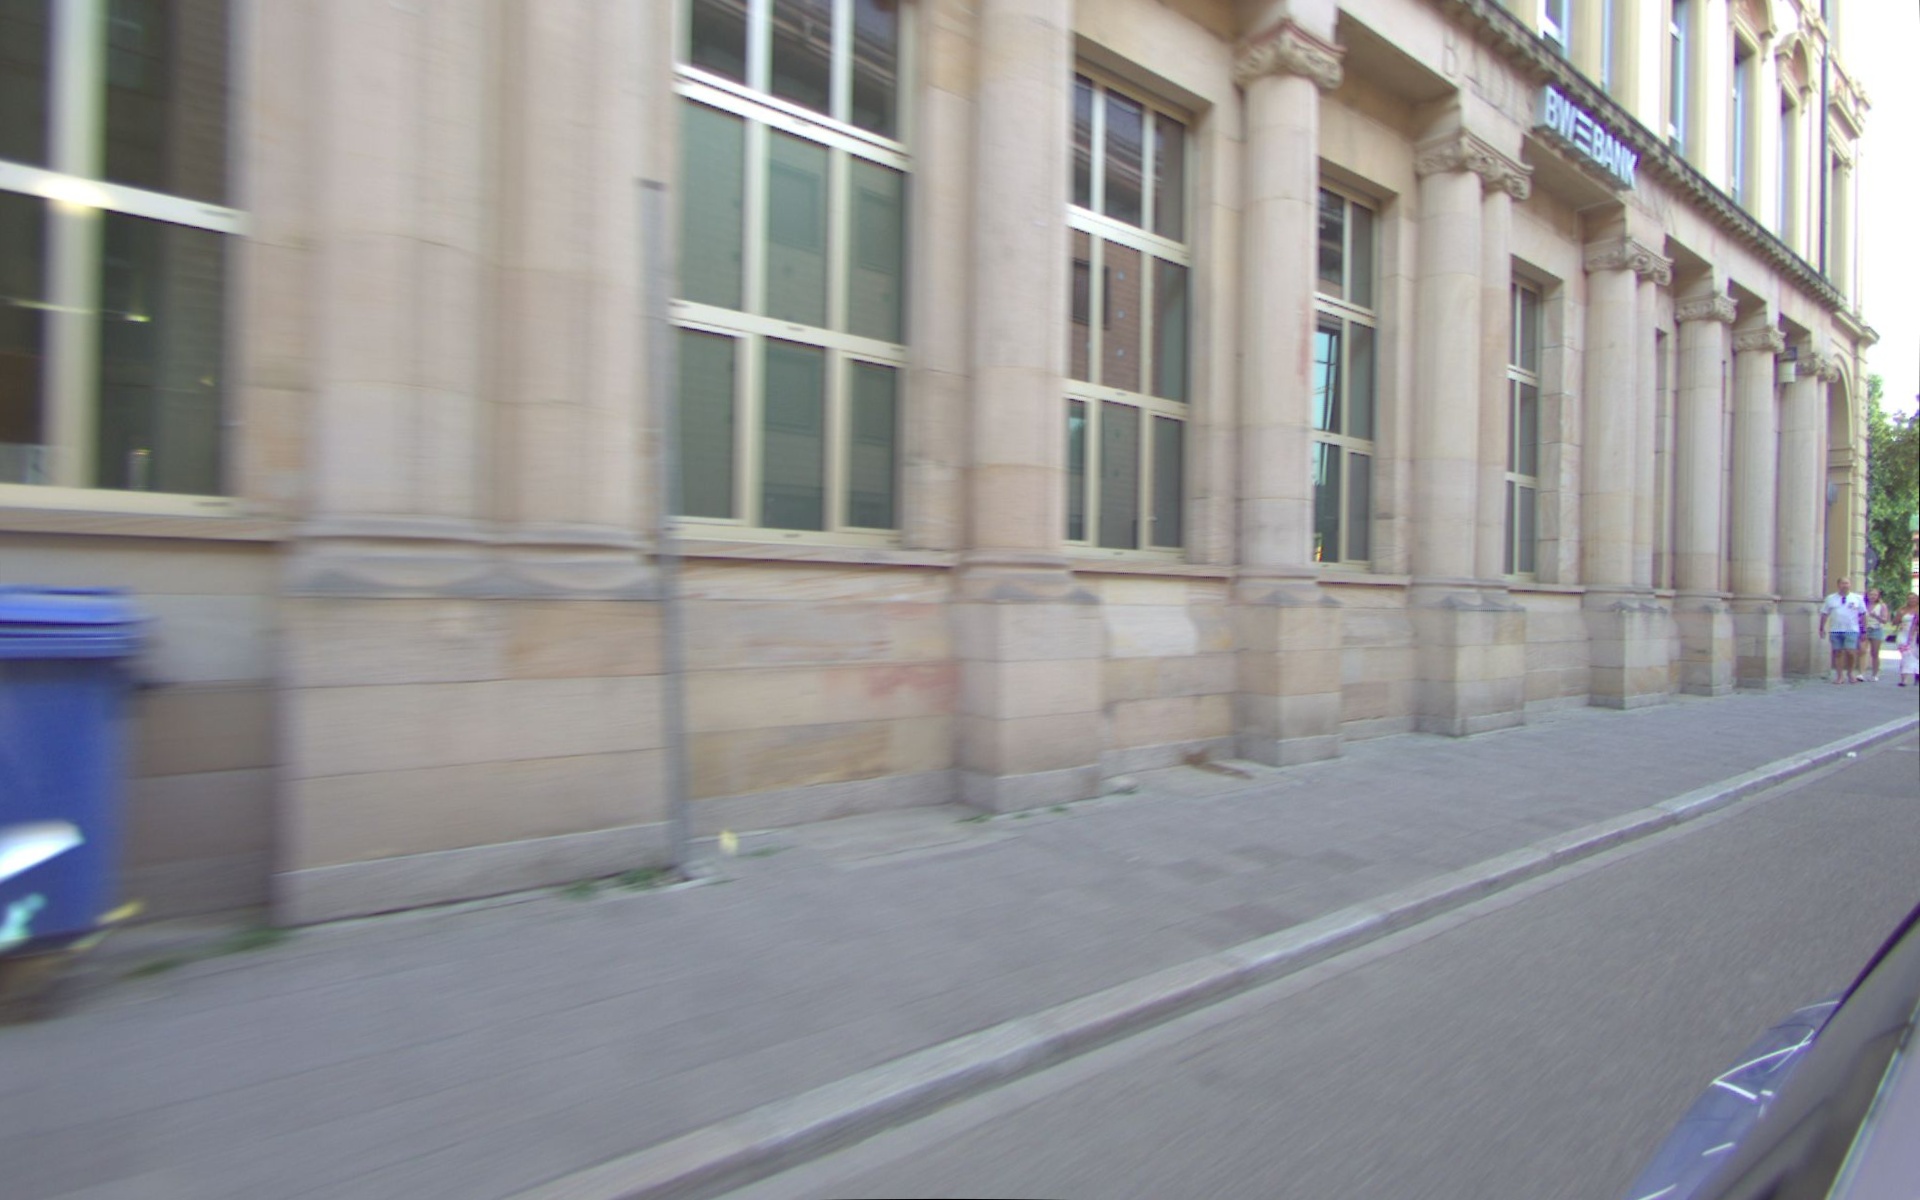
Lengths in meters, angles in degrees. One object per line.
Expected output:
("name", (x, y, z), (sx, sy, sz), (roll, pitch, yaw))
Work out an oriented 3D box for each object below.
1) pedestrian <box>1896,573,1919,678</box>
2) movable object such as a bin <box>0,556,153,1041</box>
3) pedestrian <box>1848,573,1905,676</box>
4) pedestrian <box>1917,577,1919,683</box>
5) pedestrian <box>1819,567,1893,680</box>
("pedestrian", (17.072, 0.443, 17.884), (0.758, 1.826, 0.638), (1, 1, -39))
("movable object such as a bin", (-3.307, 0.560, 3.147), (1.218, 1.409, 0.993), (1, 1, -39))
("pedestrian", (16.673, 0.434, 18.415), (0.758, 1.826, 0.638), (1, 1, -39))
("pedestrian", (16.567, 0.510, 16.852), (0.859, 1.768, 0.777), (1, 1, -39))
("pedestrian", (15.636, 0.389, 17.662), (0.859, 1.899, 0.814), (1, 1, -39))
